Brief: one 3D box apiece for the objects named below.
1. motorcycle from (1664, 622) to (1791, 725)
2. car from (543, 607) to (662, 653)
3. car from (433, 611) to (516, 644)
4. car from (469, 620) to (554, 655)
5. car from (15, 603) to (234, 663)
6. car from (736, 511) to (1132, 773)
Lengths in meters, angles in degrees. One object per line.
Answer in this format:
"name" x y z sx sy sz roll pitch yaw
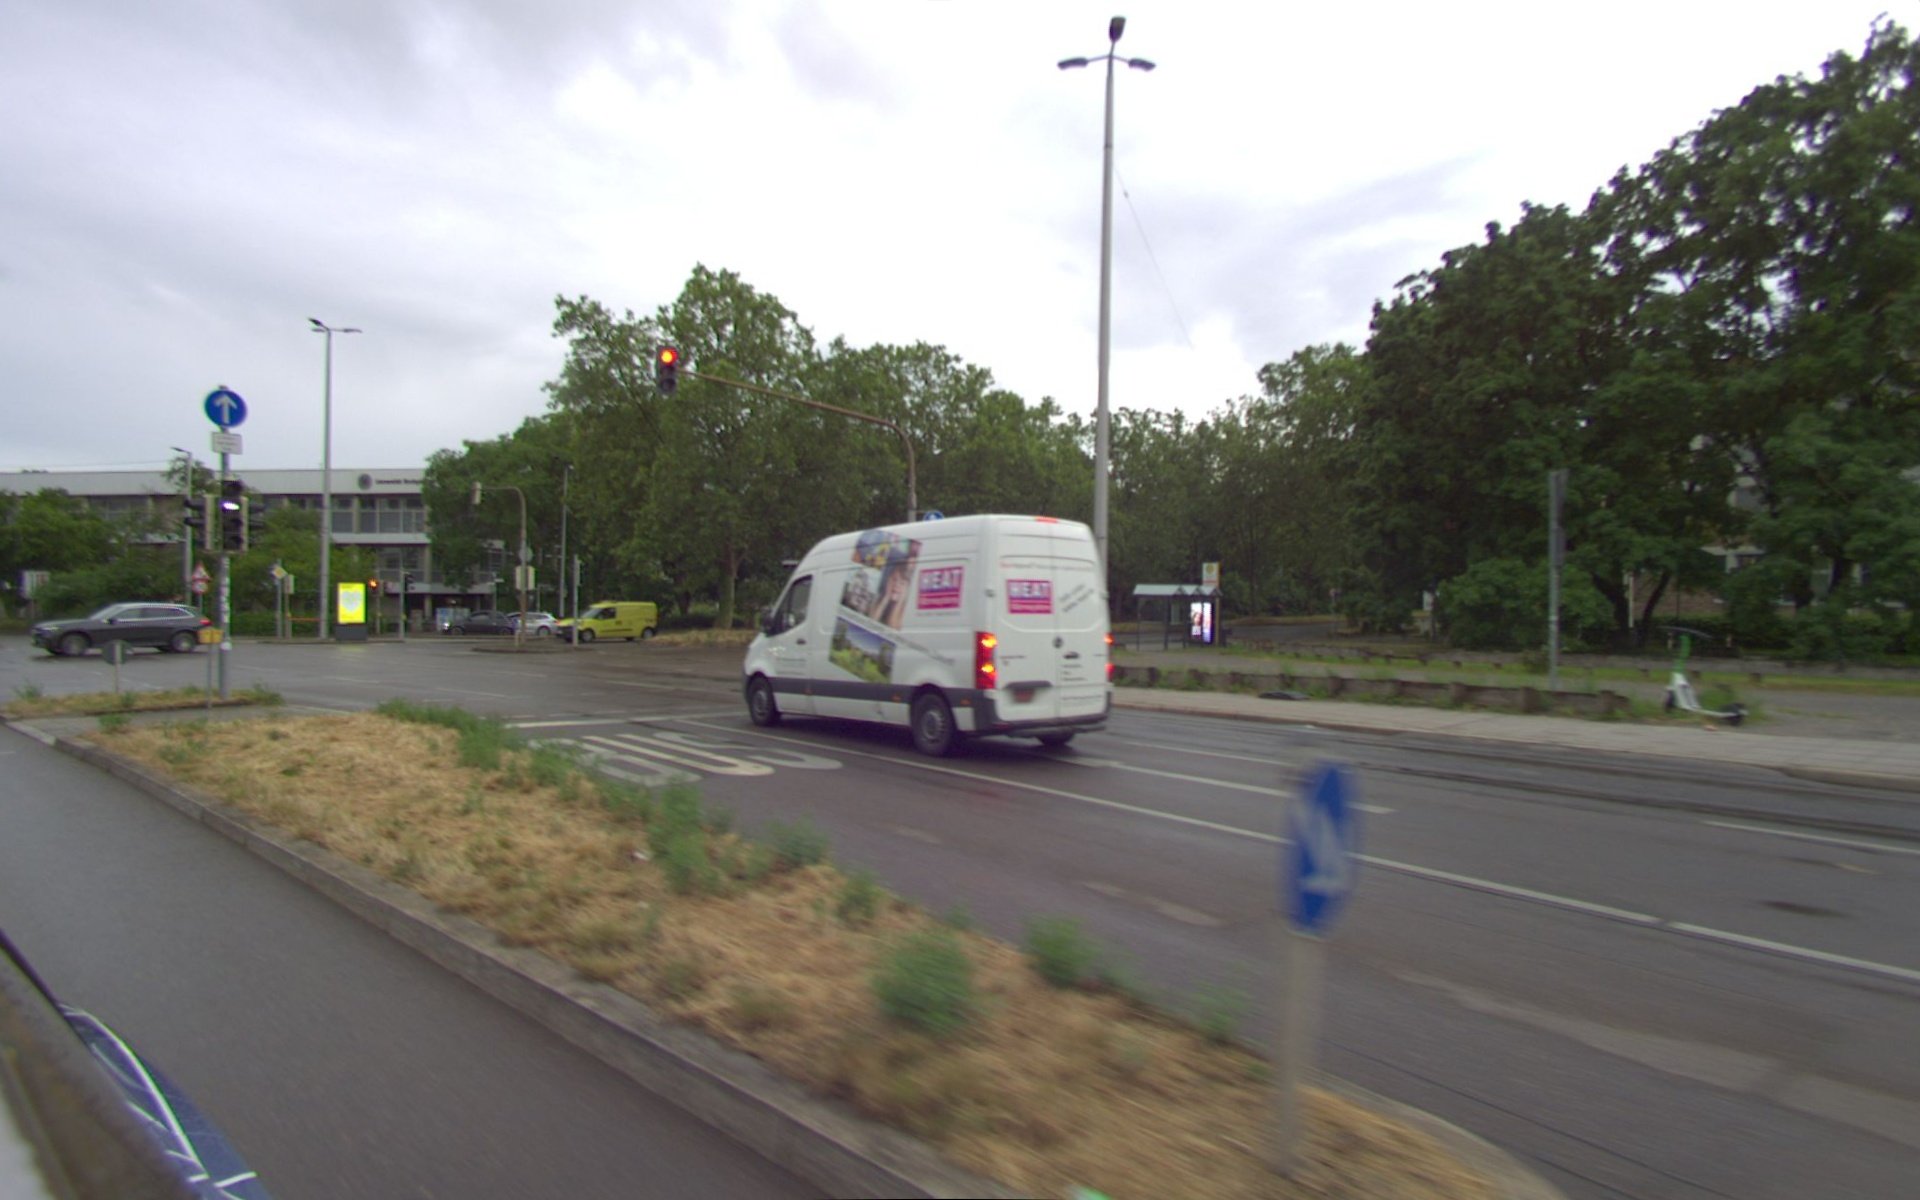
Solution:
"motorcycle" 9.855 0.913 13.019 1.266 1.256 0.509 -1 0 39
"car" -16.552 1.397 47.037 2.123 2.023 4.756 -2 -3 42
"car" -25.642 1.461 53.596 3.775 1.686 1.935 1 -2 -21
"car" -25.404 2.109 57.473 4.272 1.925 2.084 1 -2 -21
"car" -27.411 1.097 33.417 2.045 1.815 5.227 -1 -2 36
"car" -0.633 0.487 12.684 1.957 2.548 5.642 2 -2 -39
